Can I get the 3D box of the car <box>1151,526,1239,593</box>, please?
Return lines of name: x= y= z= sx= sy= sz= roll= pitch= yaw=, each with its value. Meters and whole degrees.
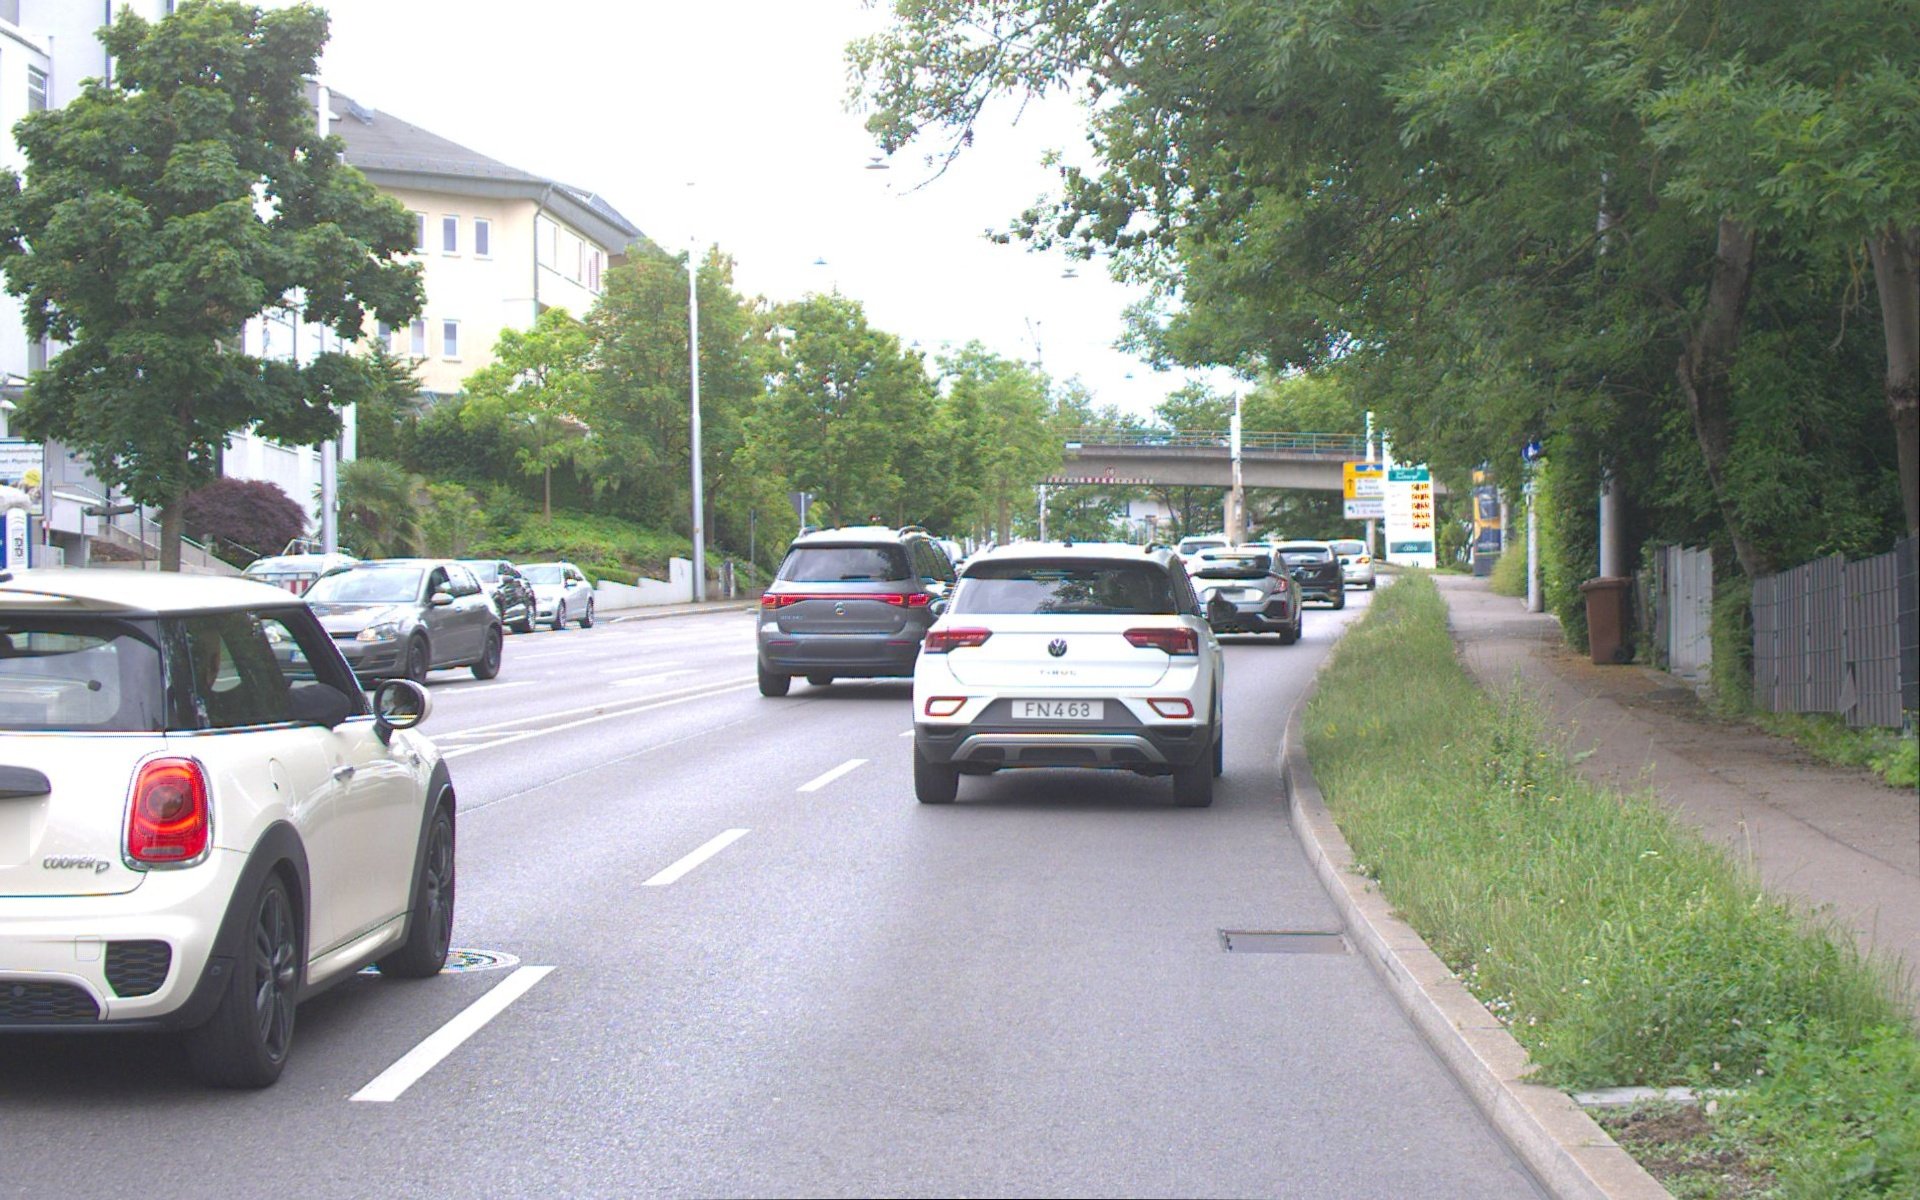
car: x=6.050 y=-1.066 z=88.049 sx=1.859 sy=1.646 sz=4.635 roll=0 pitch=1 yaw=9

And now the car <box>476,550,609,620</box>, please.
car: x=-8.850 y=-0.338 z=73.124 sx=1.771 sy=1.402 sz=4.141 roll=0 pitch=1 yaw=9

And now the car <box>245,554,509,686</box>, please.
car: x=-6.642 y=0.190 z=39.631 sx=1.843 sy=1.388 sz=4.283 roll=0 pitch=1 yaw=7

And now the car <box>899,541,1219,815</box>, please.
car: x=0.659 y=0.416 z=21.461 sx=1.811 sy=1.534 sz=3.689 roll=0 pitch=1 yaw=3

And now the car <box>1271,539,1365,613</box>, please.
car: x=7.953 y=-0.524 z=76.035 sx=1.874 sy=1.496 sz=4.554 roll=3 pitch=1 yaw=7

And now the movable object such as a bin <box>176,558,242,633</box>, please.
movable object such as a bin: x=-10.329 y=-0.068 z=47.320 sx=0.645 sy=1.012 sz=0.659 roll=1 pitch=1 yaw=16

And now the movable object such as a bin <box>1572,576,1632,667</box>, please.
movable object such as a bin: x=6.844 y=0.224 z=36.641 sx=0.555 sy=0.944 sz=0.567 roll=1 pitch=1 yaw=4

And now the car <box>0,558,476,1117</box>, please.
car: x=-2.647 y=0.592 z=10.600 sx=1.628 sy=1.388 sz=3.566 roll=0 pitch=1 yaw=3

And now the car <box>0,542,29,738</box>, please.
car: x=-8.403 y=0.327 z=24.628 sx=1.696 sy=1.491 sz=4.485 roll=1 pitch=1 yaw=8

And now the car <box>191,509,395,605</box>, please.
car: x=-10.719 y=-0.719 z=55.557 sx=1.771 sy=1.493 sz=4.303 roll=0 pitch=1 yaw=11

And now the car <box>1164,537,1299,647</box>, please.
car: x=4.090 y=-0.134 z=51.922 sx=1.873 sy=1.496 sz=4.554 roll=3 pitch=1 yaw=4

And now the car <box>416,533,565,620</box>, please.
car: x=-9.205 y=-0.487 z=67.641 sx=1.771 sy=1.628 sz=3.914 roll=0 pitch=1 yaw=11

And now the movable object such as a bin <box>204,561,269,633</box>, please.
movable object such as a bin: x=-10.085 y=-0.048 z=47.948 sx=0.645 sy=0.986 sz=0.659 roll=1 pitch=1 yaw=16

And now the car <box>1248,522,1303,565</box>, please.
car: x=11.298 y=-2.031 z=123.074 sx=1.858 sy=1.495 sz=4.055 roll=0 pitch=1 yaw=7

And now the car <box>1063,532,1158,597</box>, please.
car: x=3.856 y=-0.934 z=87.454 sx=1.771 sy=1.591 sz=5.182 roll=0 pitch=1 yaw=10

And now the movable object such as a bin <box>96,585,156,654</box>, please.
movable object such as a bin: x=-10.884 y=0.256 z=44.860 sx=0.658 sy=0.876 sz=0.647 roll=0 pitch=1 yaw=-24

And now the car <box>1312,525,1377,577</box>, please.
car: x=11.393 y=-1.459 z=101.871 sx=1.858 sy=1.495 sz=4.055 roll=0 pitch=1 yaw=6

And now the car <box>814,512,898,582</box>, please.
car: x=-3.499 y=-1.808 z=116.408 sx=2.069 sy=2.298 sz=5.464 roll=0 pitch=1 yaw=7

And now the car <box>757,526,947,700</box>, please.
car: x=-1.139 y=0.076 z=35.275 sx=1.812 sy=1.646 sz=4.637 roll=-1 pitch=1 yaw=-3
